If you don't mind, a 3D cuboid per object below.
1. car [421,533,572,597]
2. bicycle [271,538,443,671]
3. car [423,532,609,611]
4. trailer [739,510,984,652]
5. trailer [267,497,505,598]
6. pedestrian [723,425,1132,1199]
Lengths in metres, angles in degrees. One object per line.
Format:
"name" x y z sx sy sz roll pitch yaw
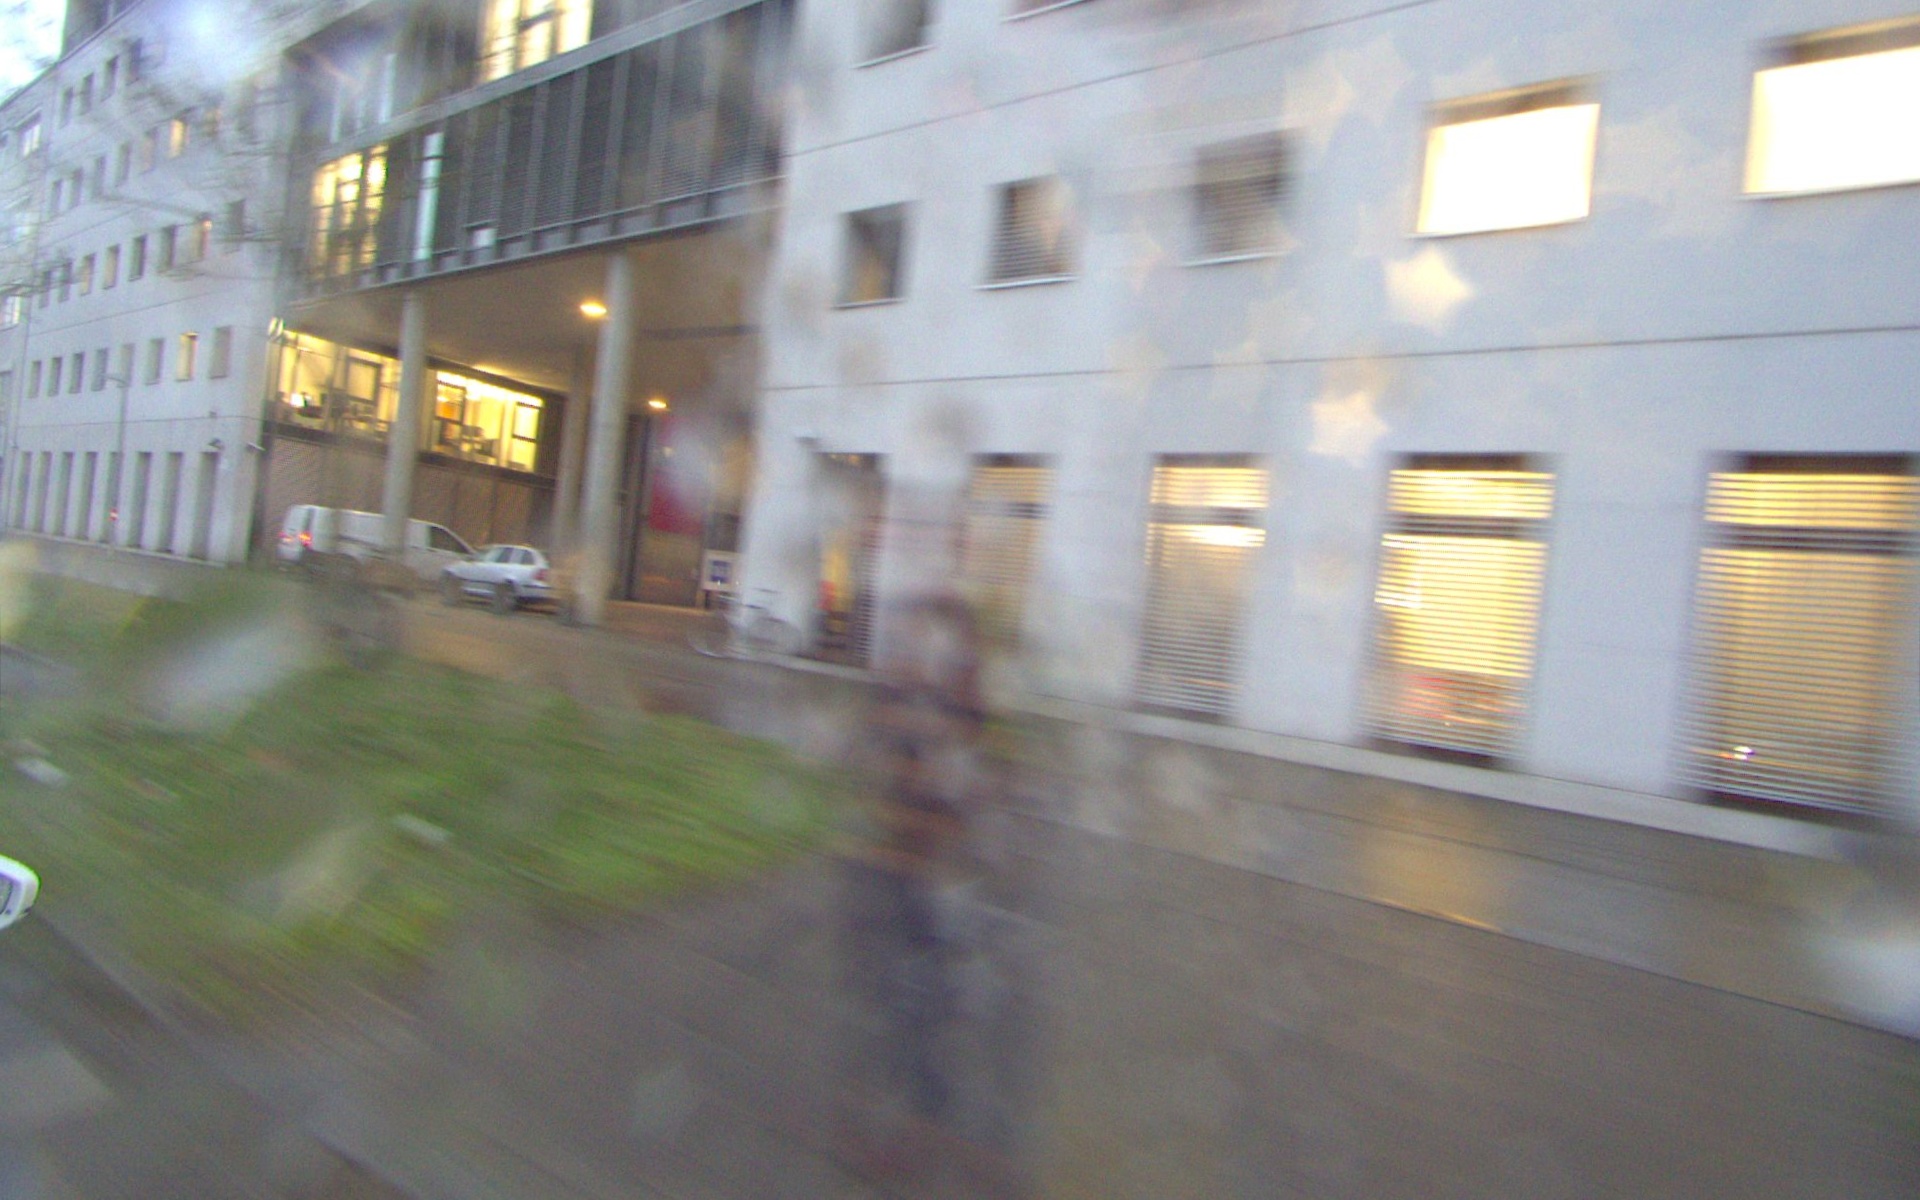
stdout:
"car" -14.676 -1.081 32.009 1.634 1.537 3.980 7 0 41
"bicycle" -5.941 0.019 9.857 2.132 1.129 0.550 5 0 34
"car" -10.300 -0.680 23.243 4.457 1.386 1.635 5 -3 32
"trailer" -2.030 -0.292 23.398 2.173 2.613 6.266 6 0 30
"trailer" -15.398 -1.362 27.238 2.099 1.934 5.064 8 0 40
"pedestrian" -0.065 0.528 2.671 0.688 1.833 0.770 5 3 31
